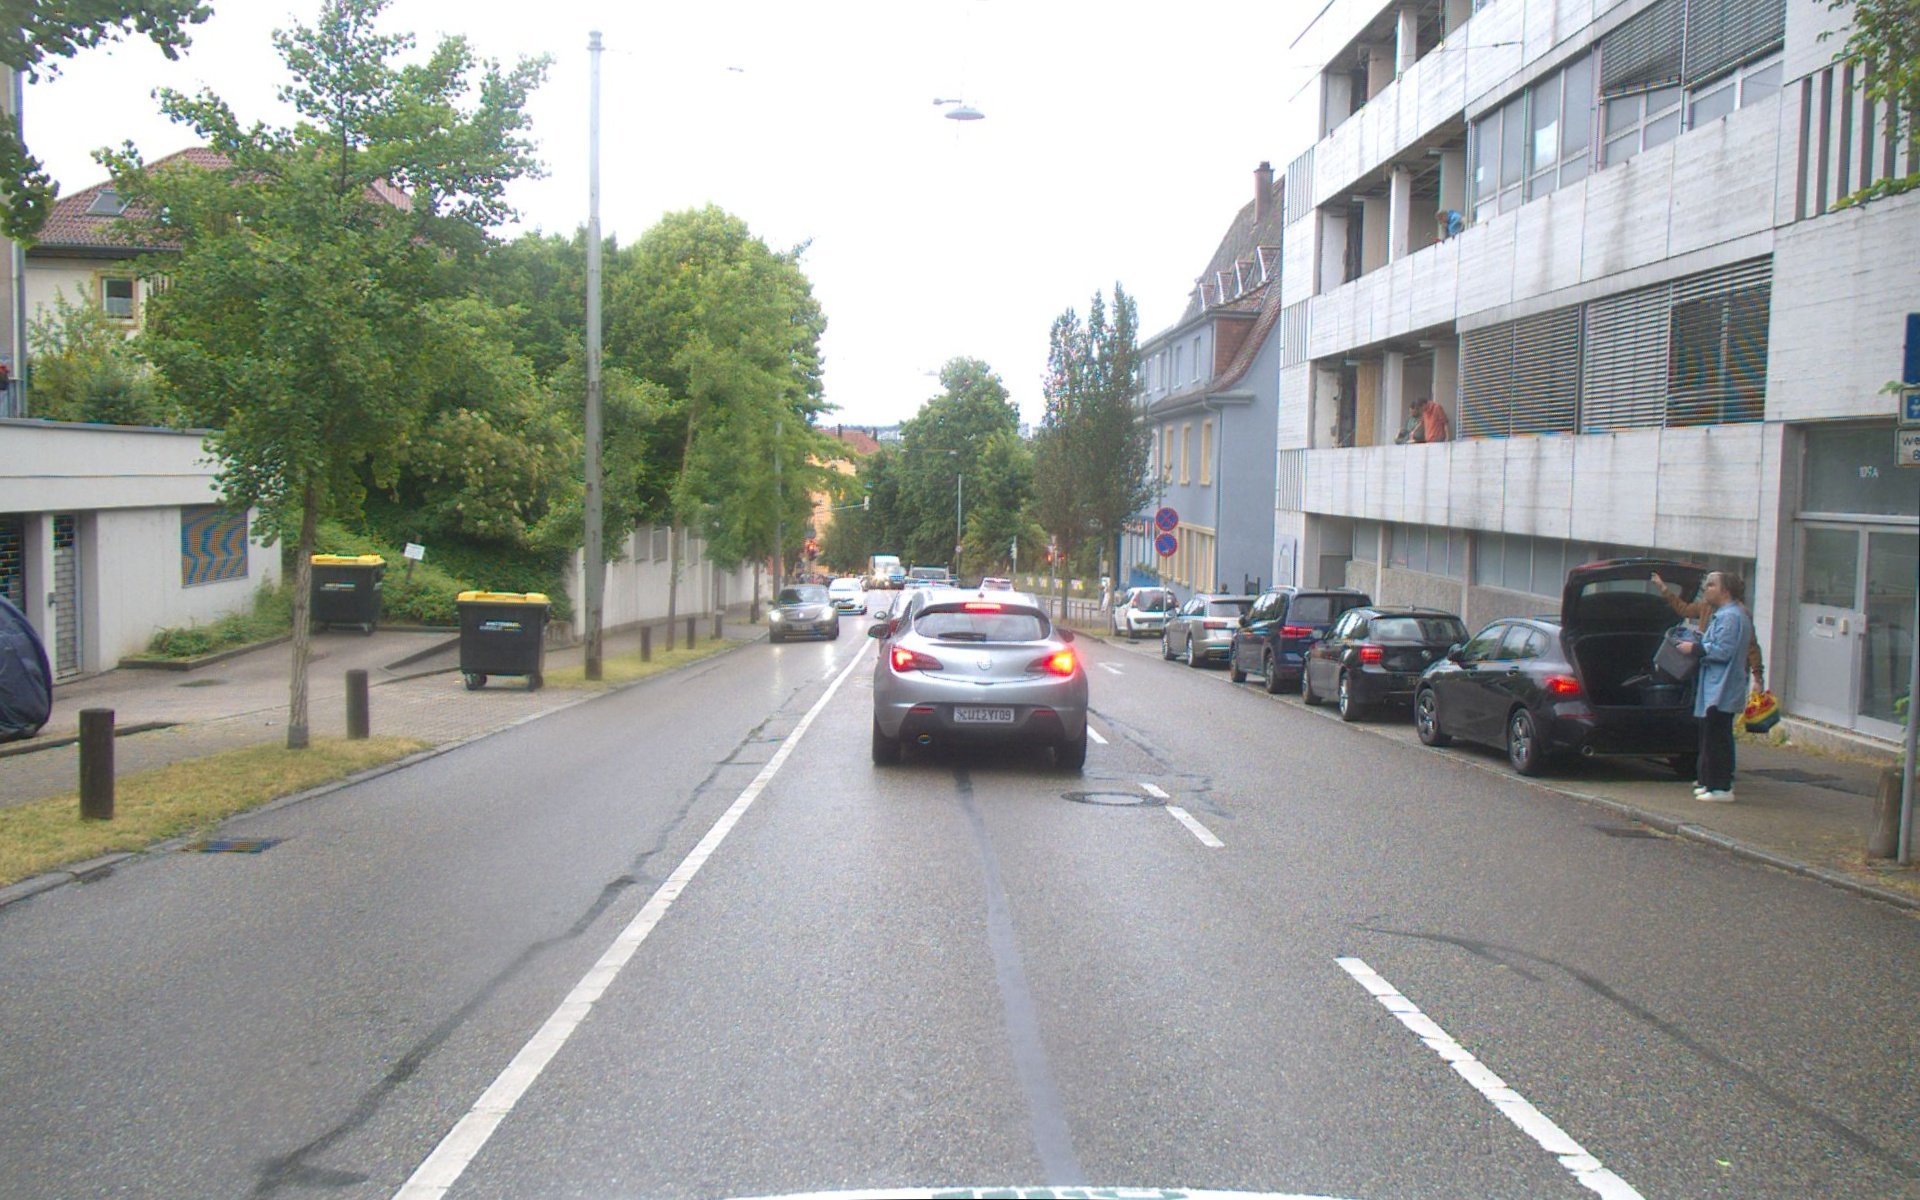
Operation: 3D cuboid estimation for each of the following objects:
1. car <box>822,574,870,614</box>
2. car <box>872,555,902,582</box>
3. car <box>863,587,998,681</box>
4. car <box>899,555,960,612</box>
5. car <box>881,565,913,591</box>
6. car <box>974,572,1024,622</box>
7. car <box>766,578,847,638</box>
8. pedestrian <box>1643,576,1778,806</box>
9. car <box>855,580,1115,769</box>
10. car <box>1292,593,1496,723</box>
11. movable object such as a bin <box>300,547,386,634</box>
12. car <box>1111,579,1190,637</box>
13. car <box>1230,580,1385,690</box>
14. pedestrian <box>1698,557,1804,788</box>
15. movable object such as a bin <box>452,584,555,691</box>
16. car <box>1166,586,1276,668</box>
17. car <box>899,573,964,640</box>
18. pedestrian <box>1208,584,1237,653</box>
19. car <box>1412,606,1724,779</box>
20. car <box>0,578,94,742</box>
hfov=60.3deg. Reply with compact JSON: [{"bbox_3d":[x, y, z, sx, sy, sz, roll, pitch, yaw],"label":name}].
[{"bbox_3d":[-4.836,-0.280,70.802,1.786,1.504,3.863,-2,2,-1],"label":"car"},{"bbox_3d":[-5.314,-2.313,120.749,1.953,1.815,4.000,4,1,-1],"label":"car"},{"bbox_3d":[-0.556,0.501,26.814,1.763,1.346,3.994,2,0,-7],"label":"car"},{"bbox_3d":[-1.249,-0.716,67.499,2.287,2.071,4.734,4,1,-1],"label":"car"},{"bbox_3d":[-4.305,-1.545,113.605,1.953,1.562,4.308,4,1,-1],"label":"car"},{"bbox_3d":[1.778,-0.181,76.320,1.954,2.071,4.734,4,1,-1],"label":"car"},{"bbox_3d":[-4.145,0.199,45.169,1.812,1.495,4.087,-2,1,-1],"label":"car"},{"bbox_3d":[6.017,0.693,13.264,0.758,1.753,0.726,-2,2,-40],"label":"pedestrian"},{"bbox_3d":[0.084,0.574,15.010,1.908,1.457,3.880,1,1,-6],"label":"car"},{"bbox_3d":[5.699,0.706,22.192,1.647,1.489,4.000,0,2,-1],"label":"car"},{"bbox_3d":[-10.527,-0.163,28.240,1.247,1.411,0.488,2,1,-4],"label":"movable object such as a bin"},{"bbox_3d":[5.622,0.194,49.268,1.867,1.598,4.000,0,1,-1],"label":"car"},{"bbox_3d":[5.558,0.507,26.899,1.651,1.598,4.000,0,1,-1],"label":"car"},{"bbox_3d":[6.644,0.584,13.885,0.653,1.868,0.685,0,2,39],"label":"pedestrian"},{"bbox_3d":[-6.294,0.513,22.832,1.247,1.411,0.488,2,1,-4],"label":"movable object such as a bin"},{"bbox_3d":[5.363,0.505,34.420,1.552,1.519,4.290,0,2,-1],"label":"car"},{"bbox_3d":[-0.922,0.165,51.080,1.734,1.811,3.974,4,1,-3],"label":"car"},{"bbox_3d":[7.019,0.494,44.243,0.632,1.815,0.542,1,1,-1],"label":"pedestrian"},{"bbox_3d":[5.864,0.816,16.462,1.473,1.460,3.998,0,0,-3],"label":"car"},{"bbox_3d":[-9.543,0.583,14.793,1.707,1.482,3.881,-2,1,-4],"label":"car"}]
